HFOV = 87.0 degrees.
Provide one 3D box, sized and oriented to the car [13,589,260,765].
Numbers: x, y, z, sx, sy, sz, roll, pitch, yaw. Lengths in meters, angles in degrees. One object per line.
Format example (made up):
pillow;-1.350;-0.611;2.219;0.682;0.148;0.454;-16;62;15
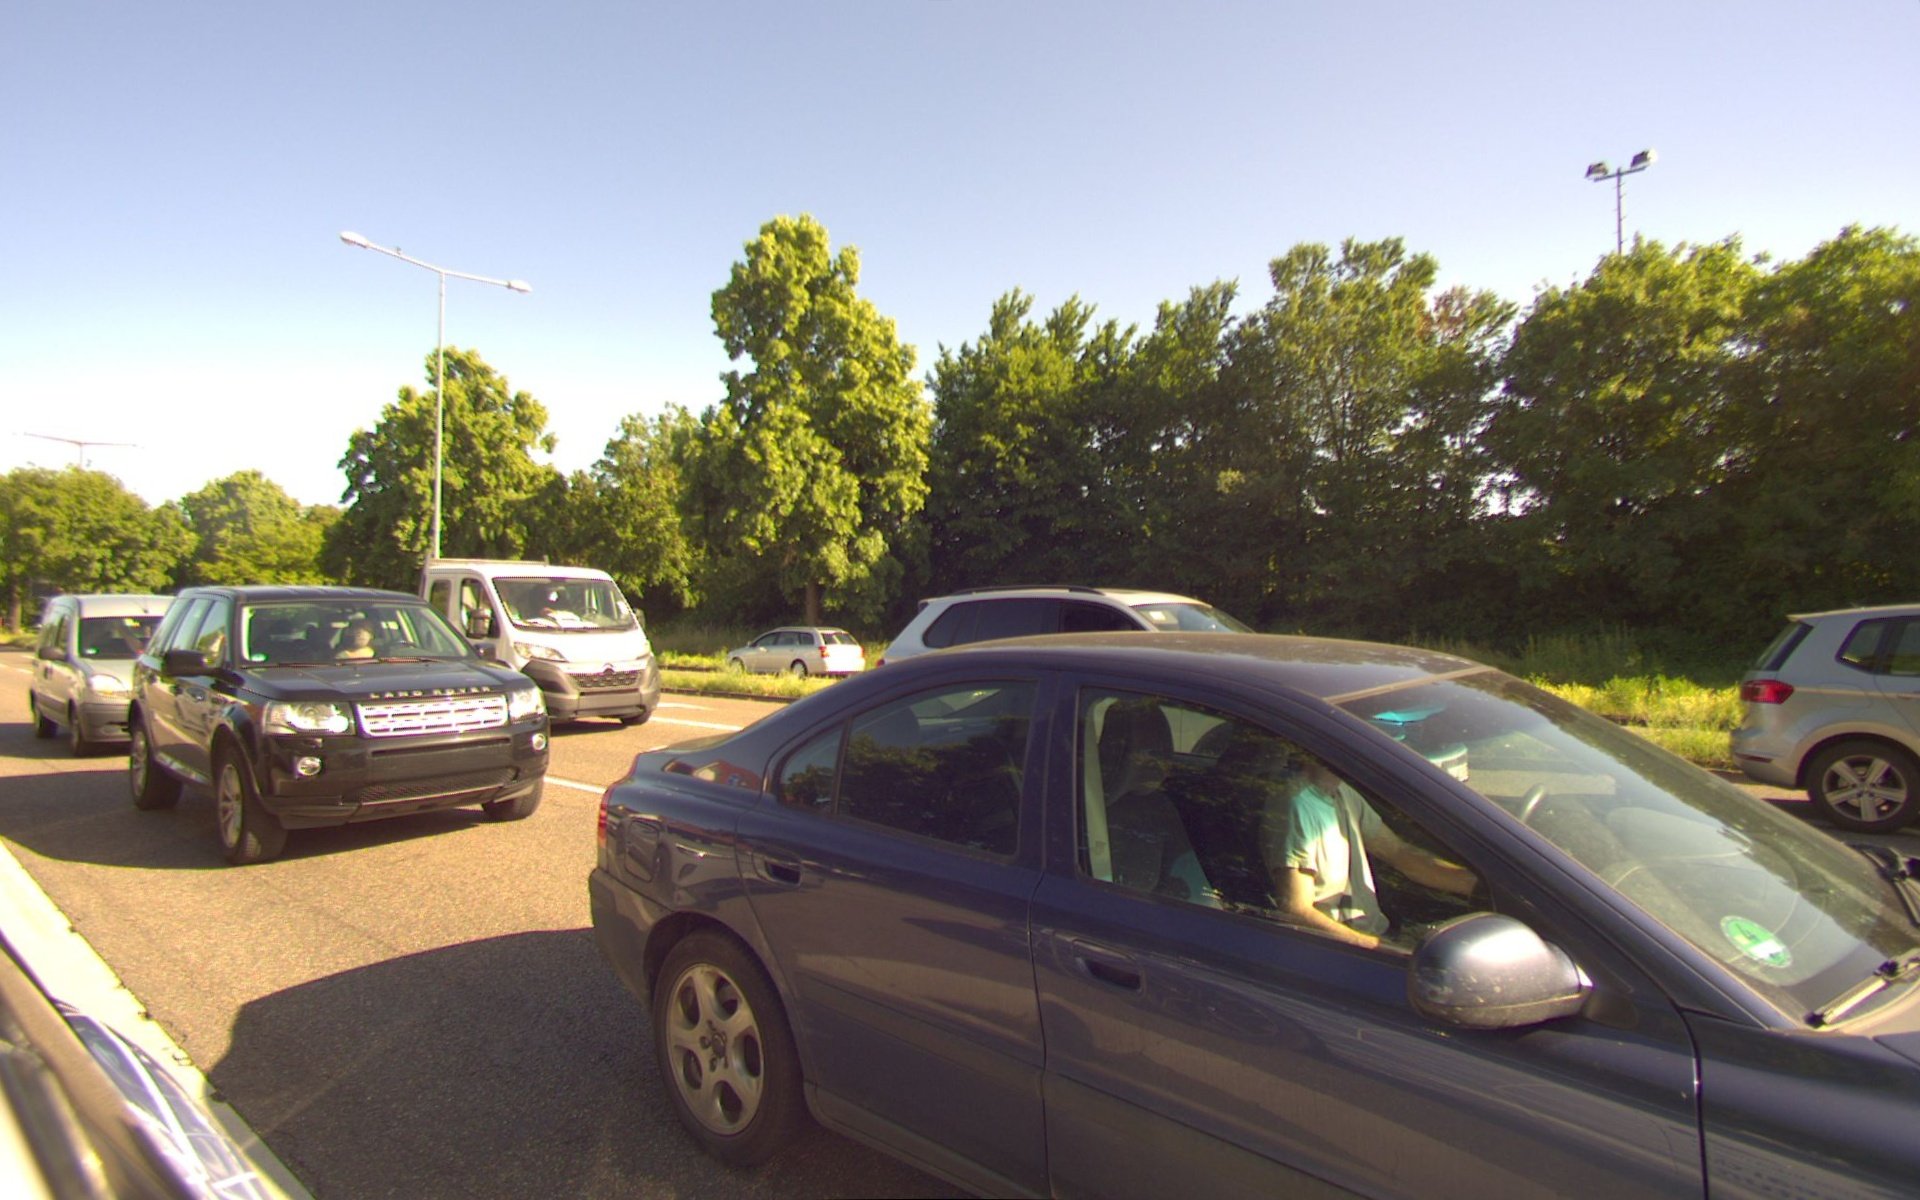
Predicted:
car;-10.053;0.797;12.224;4.384;1.765;1.611;-1;-1;41

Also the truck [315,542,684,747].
truck;-6.879;0.541;14.565;6.838;2.337;2.158;-1;-1;40

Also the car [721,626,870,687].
car;-4.621;1.531;28.191;4.326;1.574;1.624;-1;-3;39

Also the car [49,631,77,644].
car;-97.121;4.078;109.563;3.998;1.428;1.769;-2;-3;41

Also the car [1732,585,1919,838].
car;7.630;0.718;6.417;4.206;1.623;1.810;-2;-3;42

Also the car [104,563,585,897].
car;-4.696;0.702;7.423;4.384;1.744;1.793;-1;-1;41

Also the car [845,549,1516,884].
car;1.379;0.674;7.433;4.422;1.723;1.973;-2;-3;41

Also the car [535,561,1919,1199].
car;0.892;0.691;2.428;4.454;1.463;1.757;-1;0;41
